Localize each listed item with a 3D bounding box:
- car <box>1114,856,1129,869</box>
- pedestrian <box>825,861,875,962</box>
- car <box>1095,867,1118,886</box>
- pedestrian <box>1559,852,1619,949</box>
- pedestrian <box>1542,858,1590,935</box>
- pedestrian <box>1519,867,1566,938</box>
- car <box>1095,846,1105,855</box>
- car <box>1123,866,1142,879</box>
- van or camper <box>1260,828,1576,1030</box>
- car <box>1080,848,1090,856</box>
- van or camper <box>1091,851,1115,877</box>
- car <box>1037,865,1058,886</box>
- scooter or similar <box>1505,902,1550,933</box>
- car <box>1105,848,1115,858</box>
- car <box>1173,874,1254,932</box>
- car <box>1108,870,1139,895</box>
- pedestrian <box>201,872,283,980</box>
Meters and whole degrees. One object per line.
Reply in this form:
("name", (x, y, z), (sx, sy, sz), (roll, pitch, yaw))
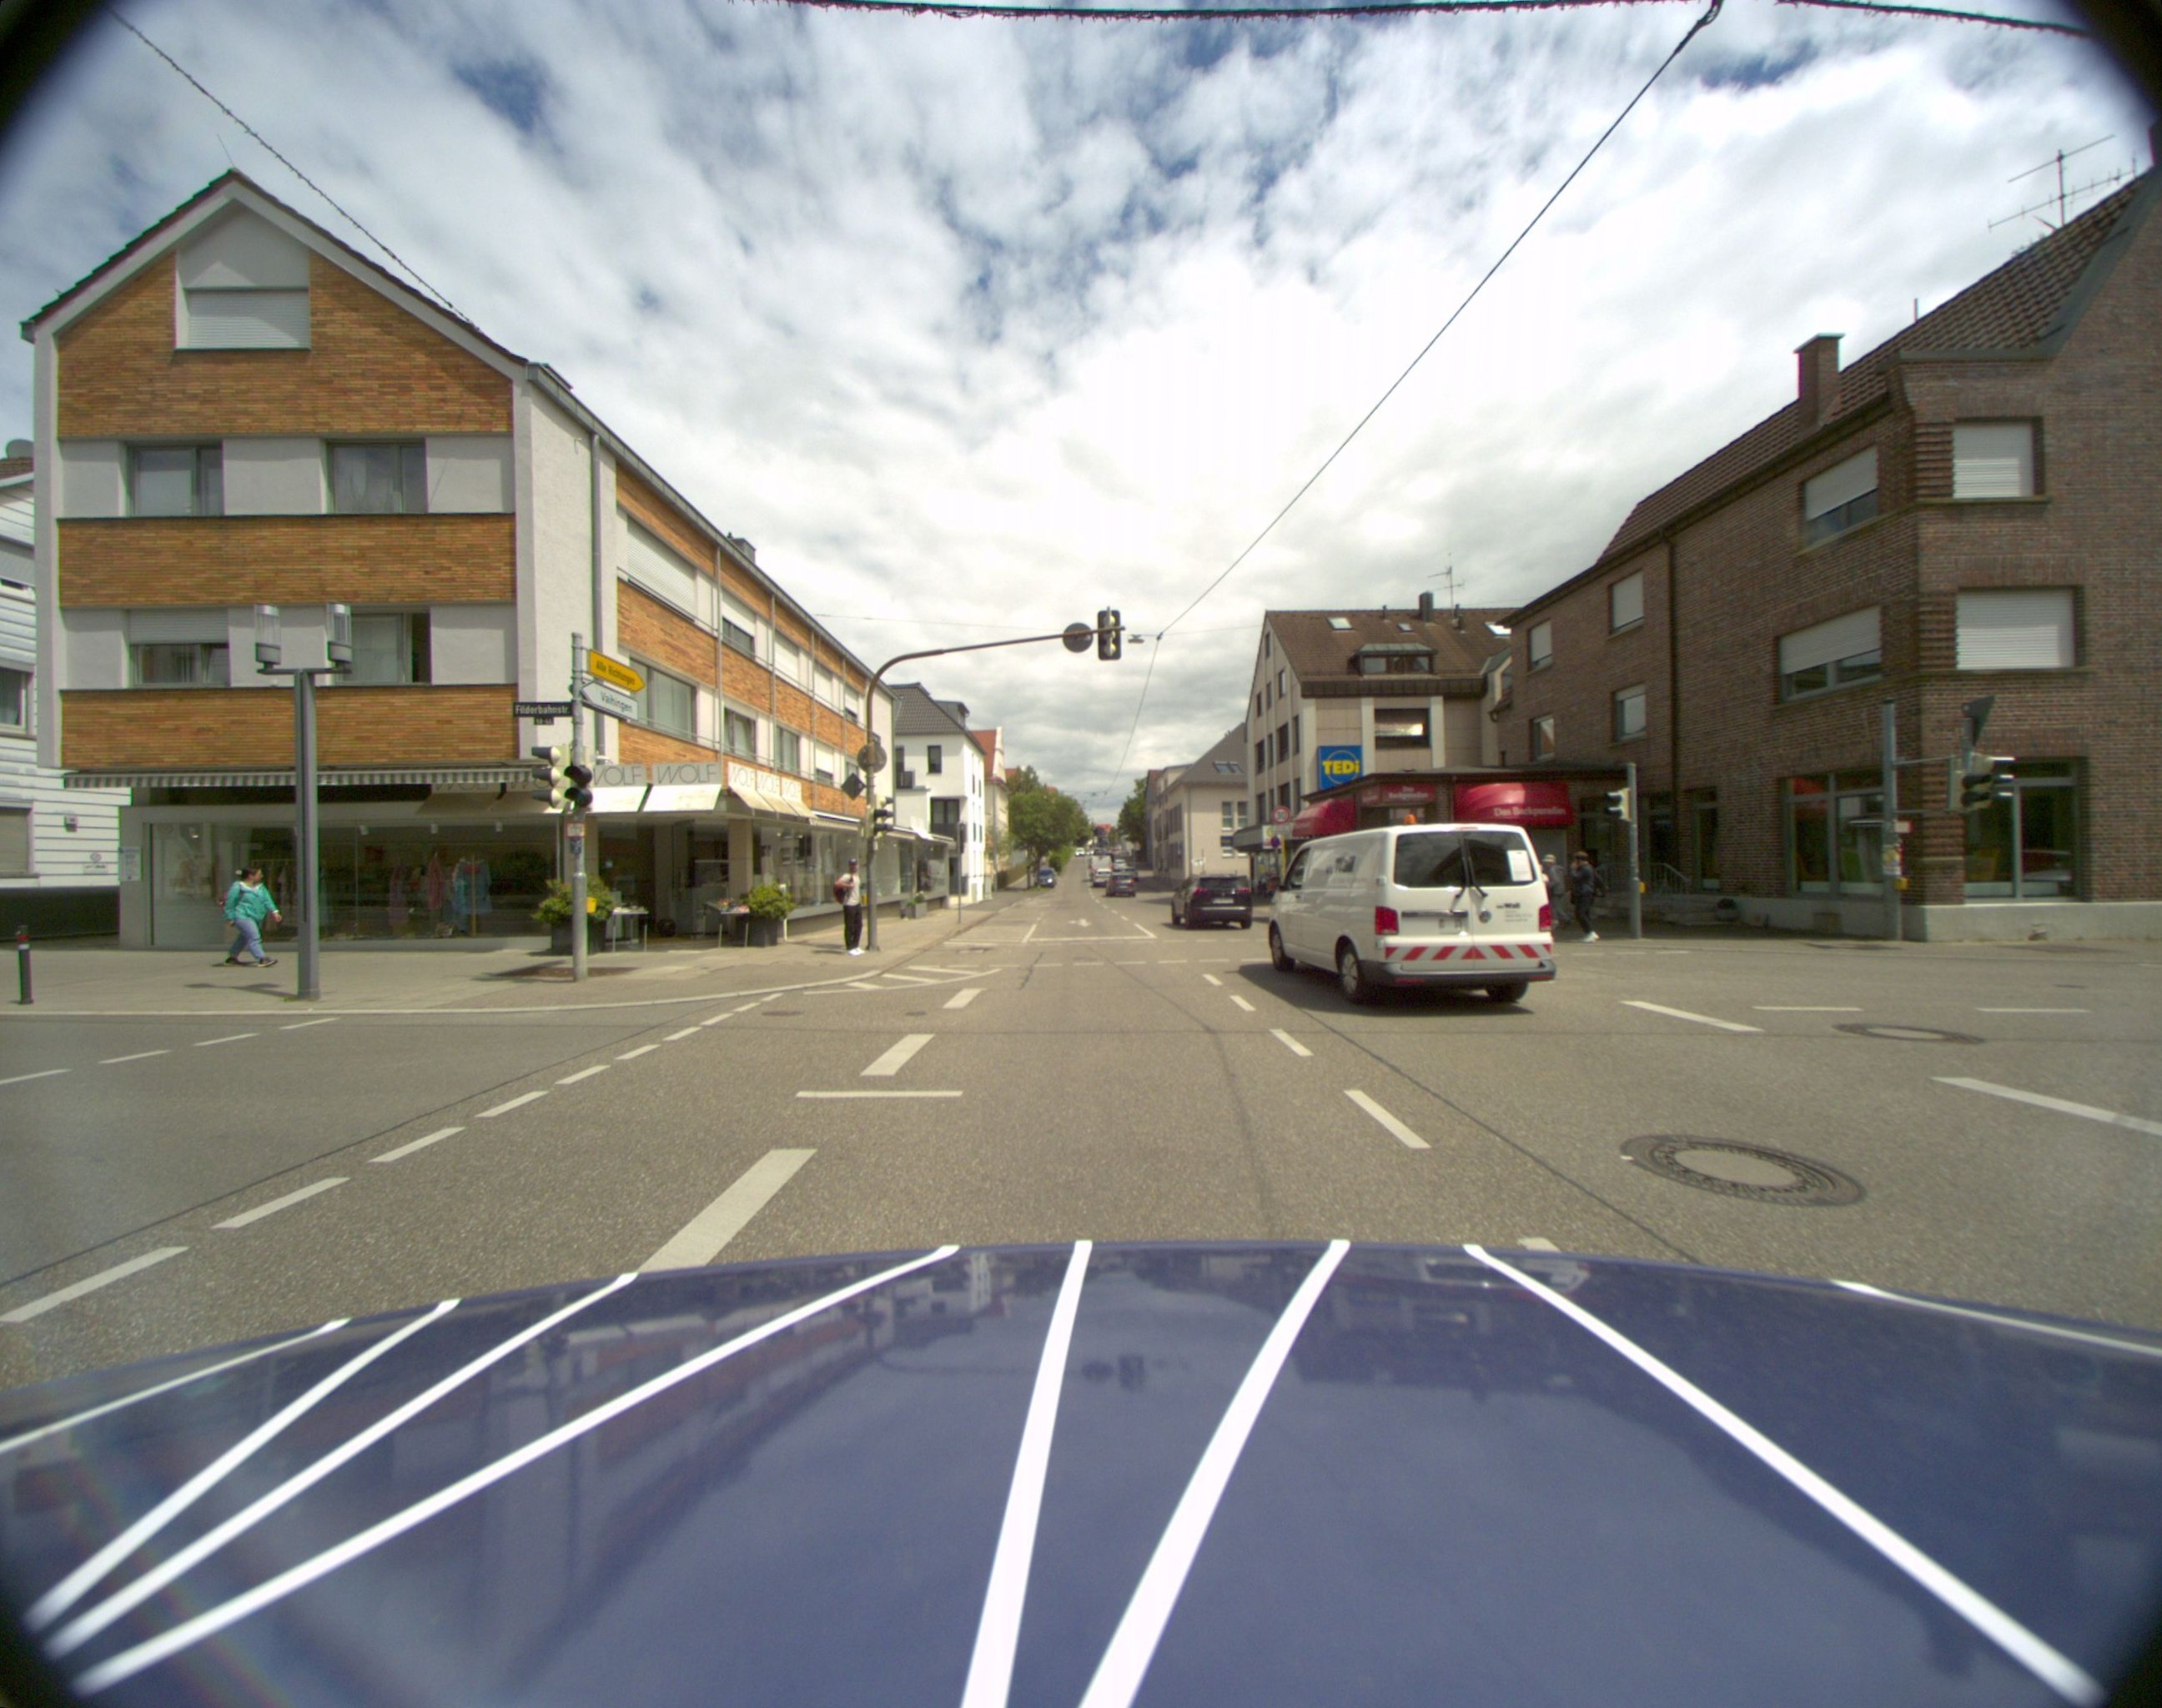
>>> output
("car", (5.167, 1.090, 96.594), (1.737, 1.479, 4.065), (0, 2, 0))
("pedestrian", (-4.296, 1.057, 14.122), (0.614, 1.803, 0.774), (4, -2, -32))
("car", (2.197, 1.932, 67.138), (1.785, 1.630, 4.220), (0, -1, -1))
("pedestrian", (9.702, 0.863, 14.518), (0.627, 1.786, 0.720), (-2, 1, -2))
("pedestrian", (10.653, 0.915, 16.710), (0.525, 1.649, 0.761), (-2, 1, -2))
("pedestrian", (10.103, 1.050, 16.647), (0.525, 1.476, 0.761), (-2, 1, -2))
("car", (3.977, -0.648, 157.290), (1.946, 1.709, 4.597), (0, -1, -1))
("car", (5.303, 1.899, 78.665), (1.665, 1.322, 3.474), (0, -1, 0))
("van or camper", (3.776, 0.791, 9.614), (1.869, 1.886, 4.693), (-1, -2, 0))
("car", (0.821, -0.449, 156.470), (1.946, 1.605, 4.454), (0, 0, -1))
("van or camper", (2.266, 1.086, 79.364), (2.154, 2.540, 5.438), (0, -2, -2))
("car", (-2.992, 1.906, 68.124), (1.698, 1.733, 4.159), (-1, 0, 0))
("scooter or similar", (10.201, 1.453, 17.376), (0.380, 0.642, 0.808), (1, 0, -22))
("car", (4.944, -0.166, 129.585), (1.673, 1.545, 3.964), (0, 2, 0))
("car", (3.754, 1.340, 22.108), (1.687, 1.488, 3.968), (-1, -1, 0))
("car", (2.867, 1.928, 51.778), (1.794, 1.580, 4.101), (0, -2, -2))
("pedestrian", (-12.618, 1.056, 11.445), (0.589, 1.550, 0.528), (-2, 1, -16))
